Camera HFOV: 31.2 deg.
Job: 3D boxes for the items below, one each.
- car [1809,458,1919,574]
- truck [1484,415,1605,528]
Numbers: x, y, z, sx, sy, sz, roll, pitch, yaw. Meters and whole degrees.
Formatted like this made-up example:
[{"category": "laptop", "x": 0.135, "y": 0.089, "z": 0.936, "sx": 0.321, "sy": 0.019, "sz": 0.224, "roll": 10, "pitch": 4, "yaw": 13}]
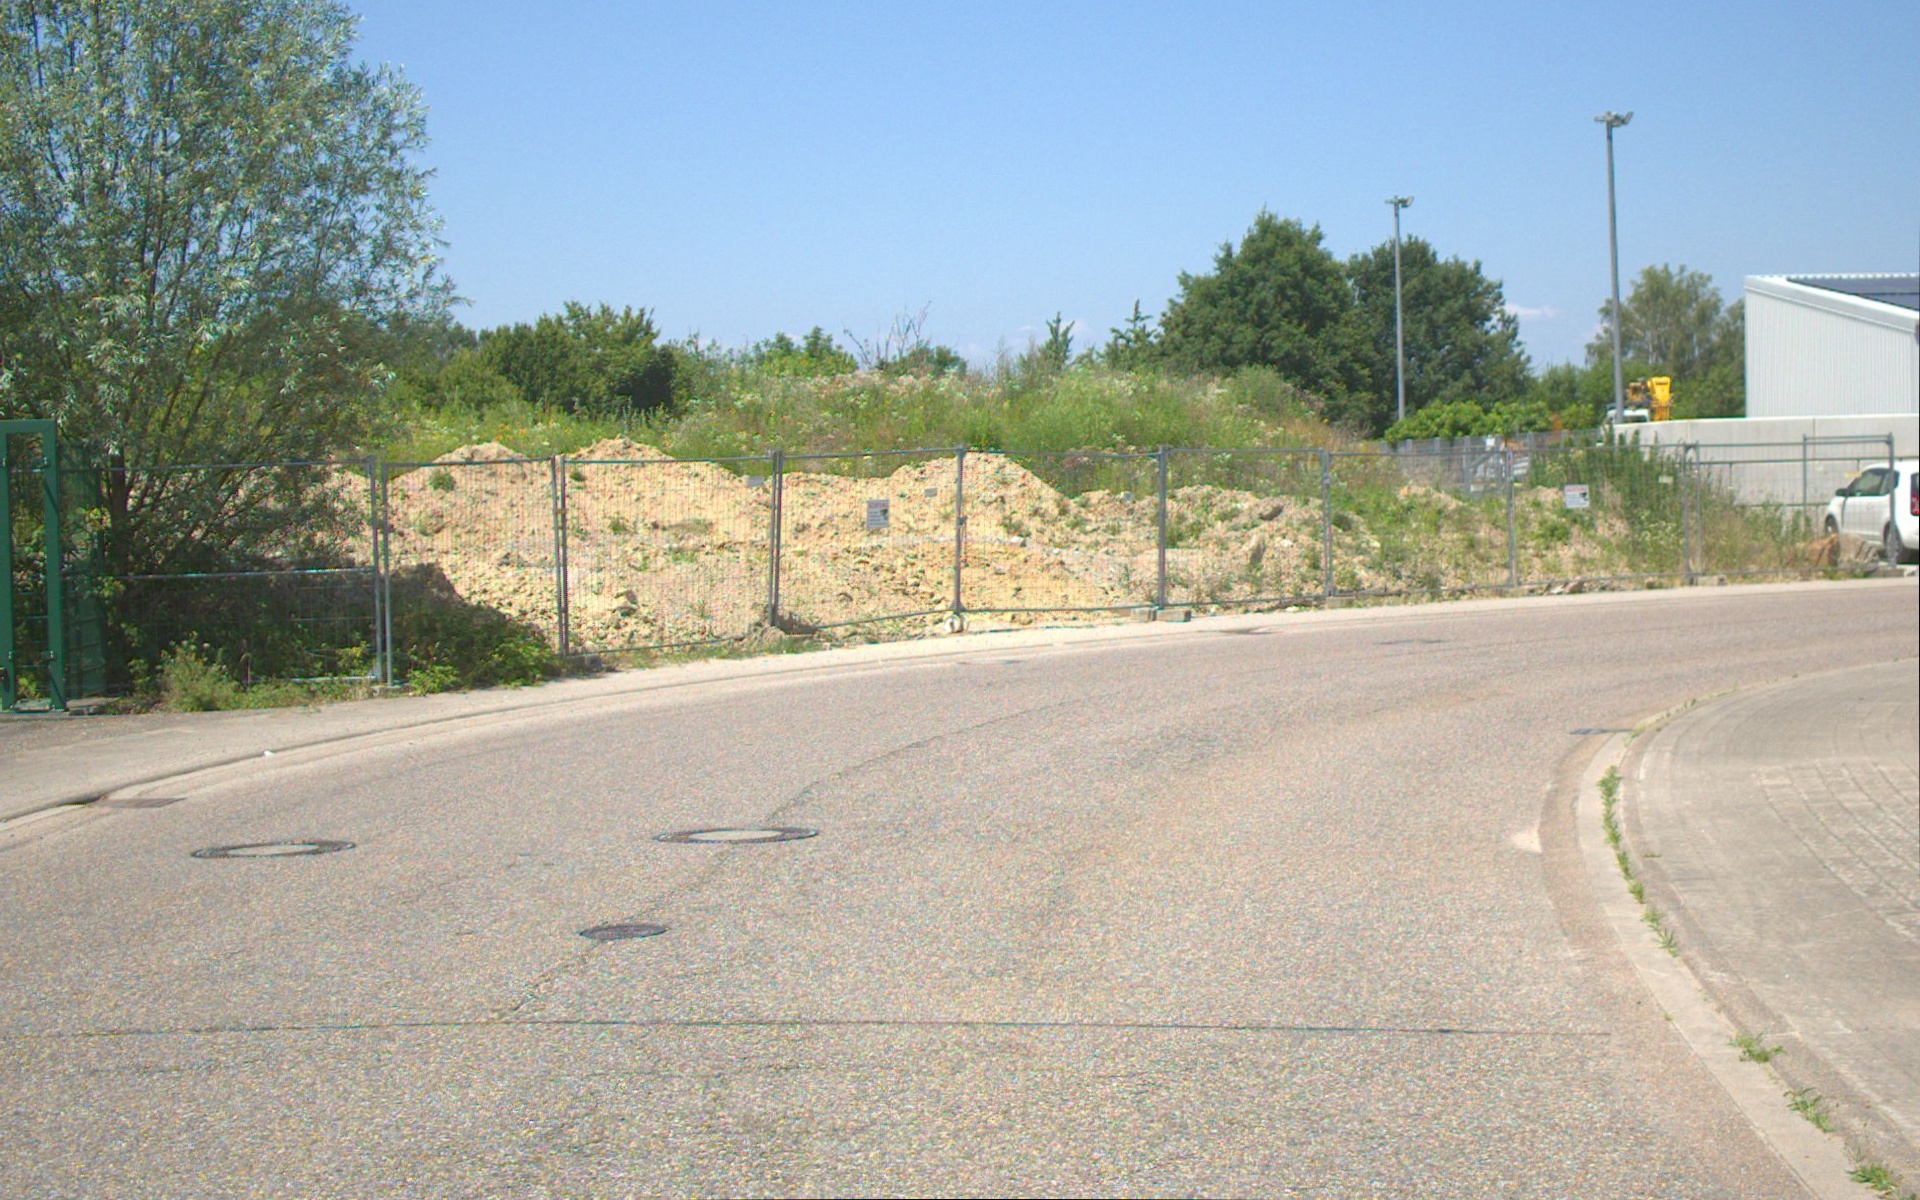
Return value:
[{"category": "car", "x": 14.405, "y": -1.300, "z": 51.995, "sx": 1.782, "sy": 1.493, "sz": 3.704, "roll": -2, "pitch": 5, "yaw": -8}, {"category": "truck", "x": 16.221, "y": -3.539, "z": 95.658, "sx": 1.993, "sy": 2.974, "sz": 4.646, "roll": -2, "pitch": 1, "yaw": -7}]
